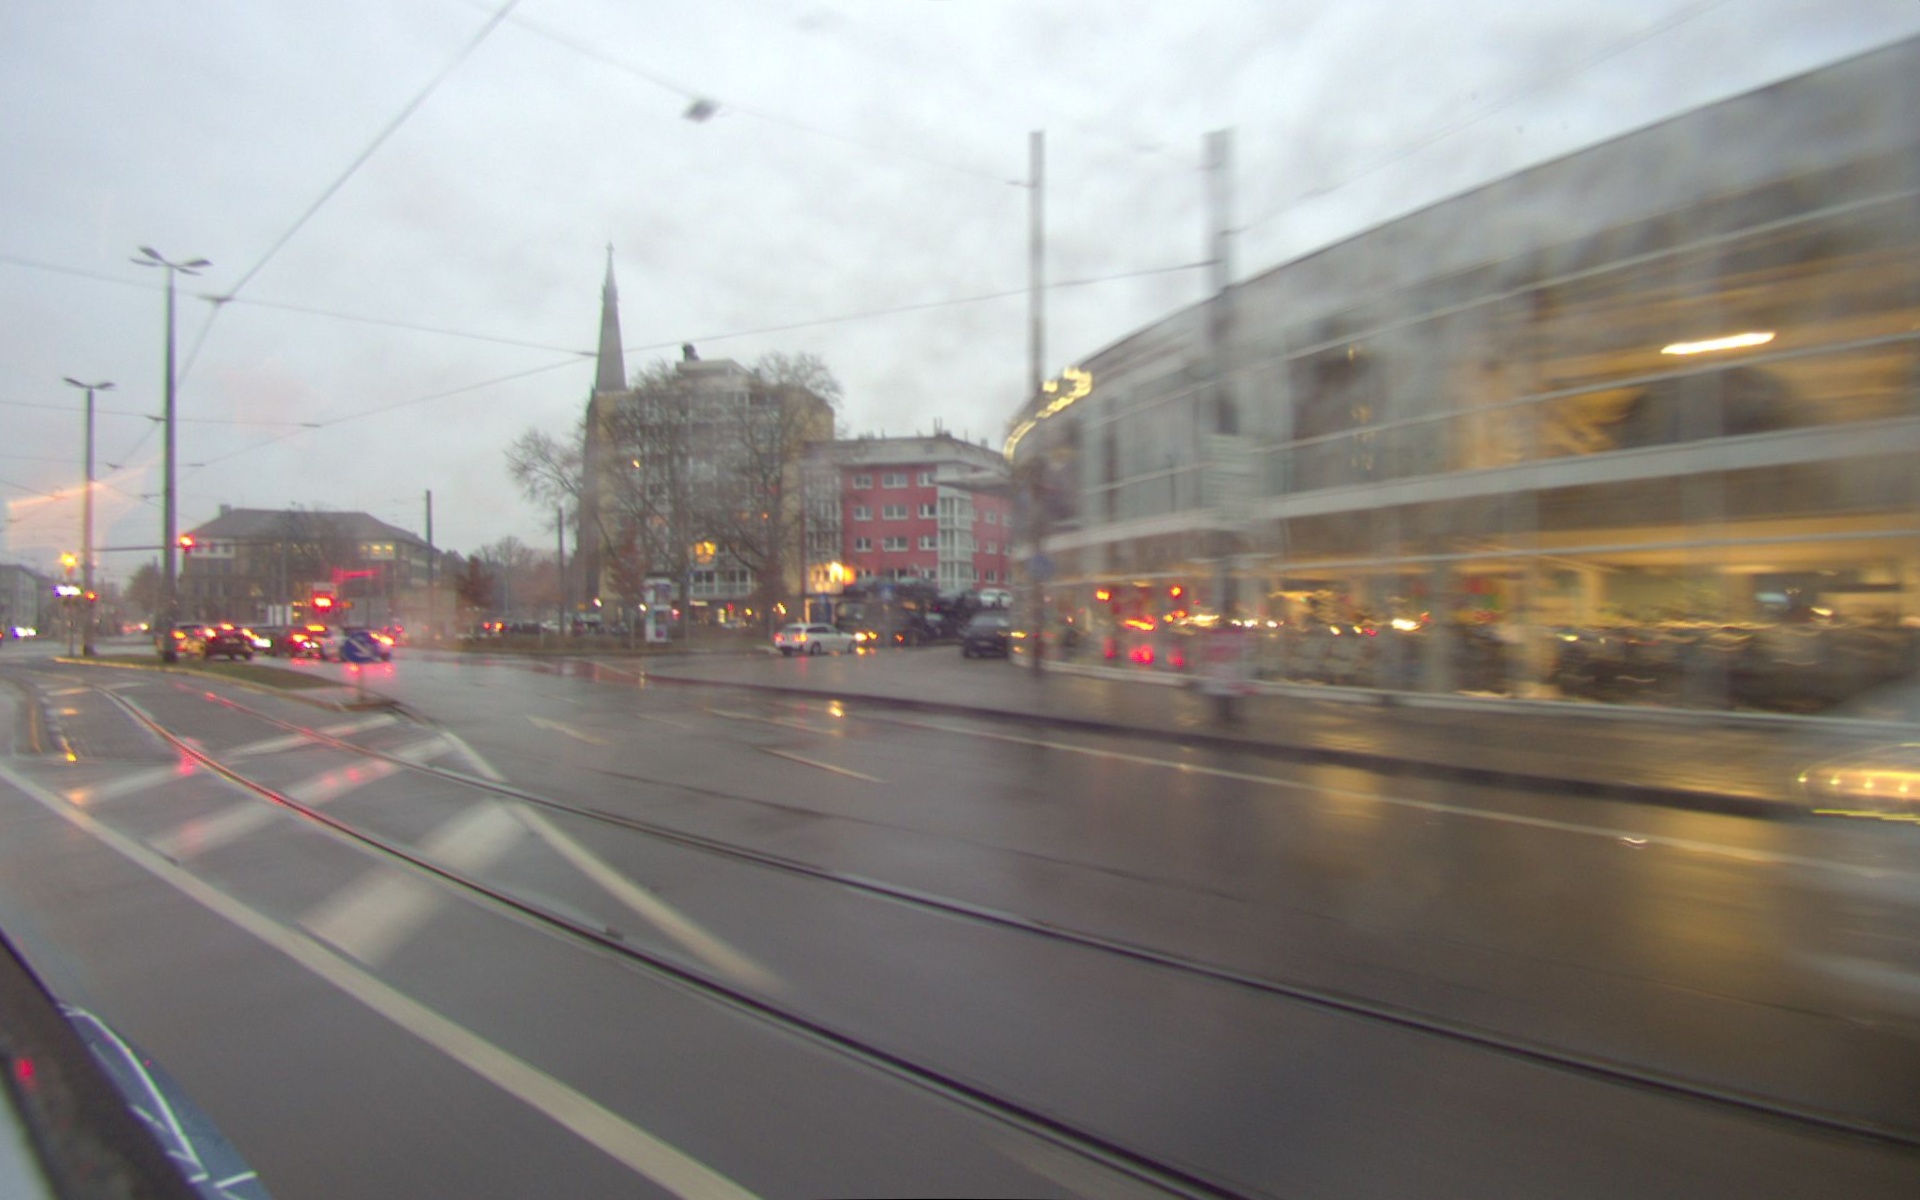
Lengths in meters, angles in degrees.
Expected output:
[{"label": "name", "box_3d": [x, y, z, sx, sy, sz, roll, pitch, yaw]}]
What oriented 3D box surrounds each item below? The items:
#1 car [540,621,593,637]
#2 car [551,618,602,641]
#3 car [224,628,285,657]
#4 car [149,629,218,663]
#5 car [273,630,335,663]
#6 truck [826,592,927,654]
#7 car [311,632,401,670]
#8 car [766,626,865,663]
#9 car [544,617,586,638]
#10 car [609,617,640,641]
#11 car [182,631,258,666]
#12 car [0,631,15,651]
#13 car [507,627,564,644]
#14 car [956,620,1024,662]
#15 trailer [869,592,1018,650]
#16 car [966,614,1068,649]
[{"label": "car", "box_3d": [-34.916, 2.525, 89.800, 3.948, 1.320, 1.998, -1, 0, 4]}, {"label": "car", "box_3d": [-34.898, 2.650, 92.150, 3.948, 2.029, 1.998, -1, 0, 4]}, {"label": "car", "box_3d": [-35.867, 2.151, 51.425, 3.999, 1.368, 1.706, -2, -1, 42]}, {"label": "car", "box_3d": [-36.537, 2.117, 47.589, 3.999, 1.497, 1.879, -2, -1, 42]}, {"label": "car", "box_3d": [-30.033, 2.114, 46.295, 3.471, 1.429, 1.583, -2, -1, 43]}, {"label": "truck", "box_3d": [-4.856, 1.290, 60.272, 2.648, 3.443, 6.686, -1, 0, 30]}, {"label": "car", "box_3d": [-24.845, 2.041, 41.568, 4.587, 1.432, 1.972, -2, -1, 43]}, {"label": "car", "box_3d": [-6.601, 2.016, 46.743, 1.993, 1.509, 4.760, -1, -1, 31]}, {"label": "car", "box_3d": [-40.969, 2.867, 104.959, 3.930, 2.029, 2.007, -1, 0, -24]}, {"label": "car", "box_3d": [-29.899, 2.582, 90.199, 1.968, 2.029, 4.007, -1, 0, -9]}, {"label": "car", "box_3d": [-31.330, 2.020, 42.808, 4.000, 1.401, 1.851, -2, -3, 43]}, {"label": "car", "box_3d": [-77.006, 3.259, 80.517, 1.966, 1.564, 4.011, -1, 0, -33]}, {"label": "car", "box_3d": [-35.381, 2.964, 84.352, 3.948, 1.320, 1.998, -1, 0, 4]}, {"label": "car", "box_3d": [1.162, 1.477, 37.652, 1.726, 1.409, 4.276, -1, 0, 13]}, {"label": "trailer", "box_3d": [-0.670, 1.273, 67.473, 2.626, 3.443, 14.902, -1, 0, 30]}, {"label": "car", "box_3d": [2.655, 1.439, 47.318, 4.405, 1.534, 1.865, -1, 0, 31]}]
